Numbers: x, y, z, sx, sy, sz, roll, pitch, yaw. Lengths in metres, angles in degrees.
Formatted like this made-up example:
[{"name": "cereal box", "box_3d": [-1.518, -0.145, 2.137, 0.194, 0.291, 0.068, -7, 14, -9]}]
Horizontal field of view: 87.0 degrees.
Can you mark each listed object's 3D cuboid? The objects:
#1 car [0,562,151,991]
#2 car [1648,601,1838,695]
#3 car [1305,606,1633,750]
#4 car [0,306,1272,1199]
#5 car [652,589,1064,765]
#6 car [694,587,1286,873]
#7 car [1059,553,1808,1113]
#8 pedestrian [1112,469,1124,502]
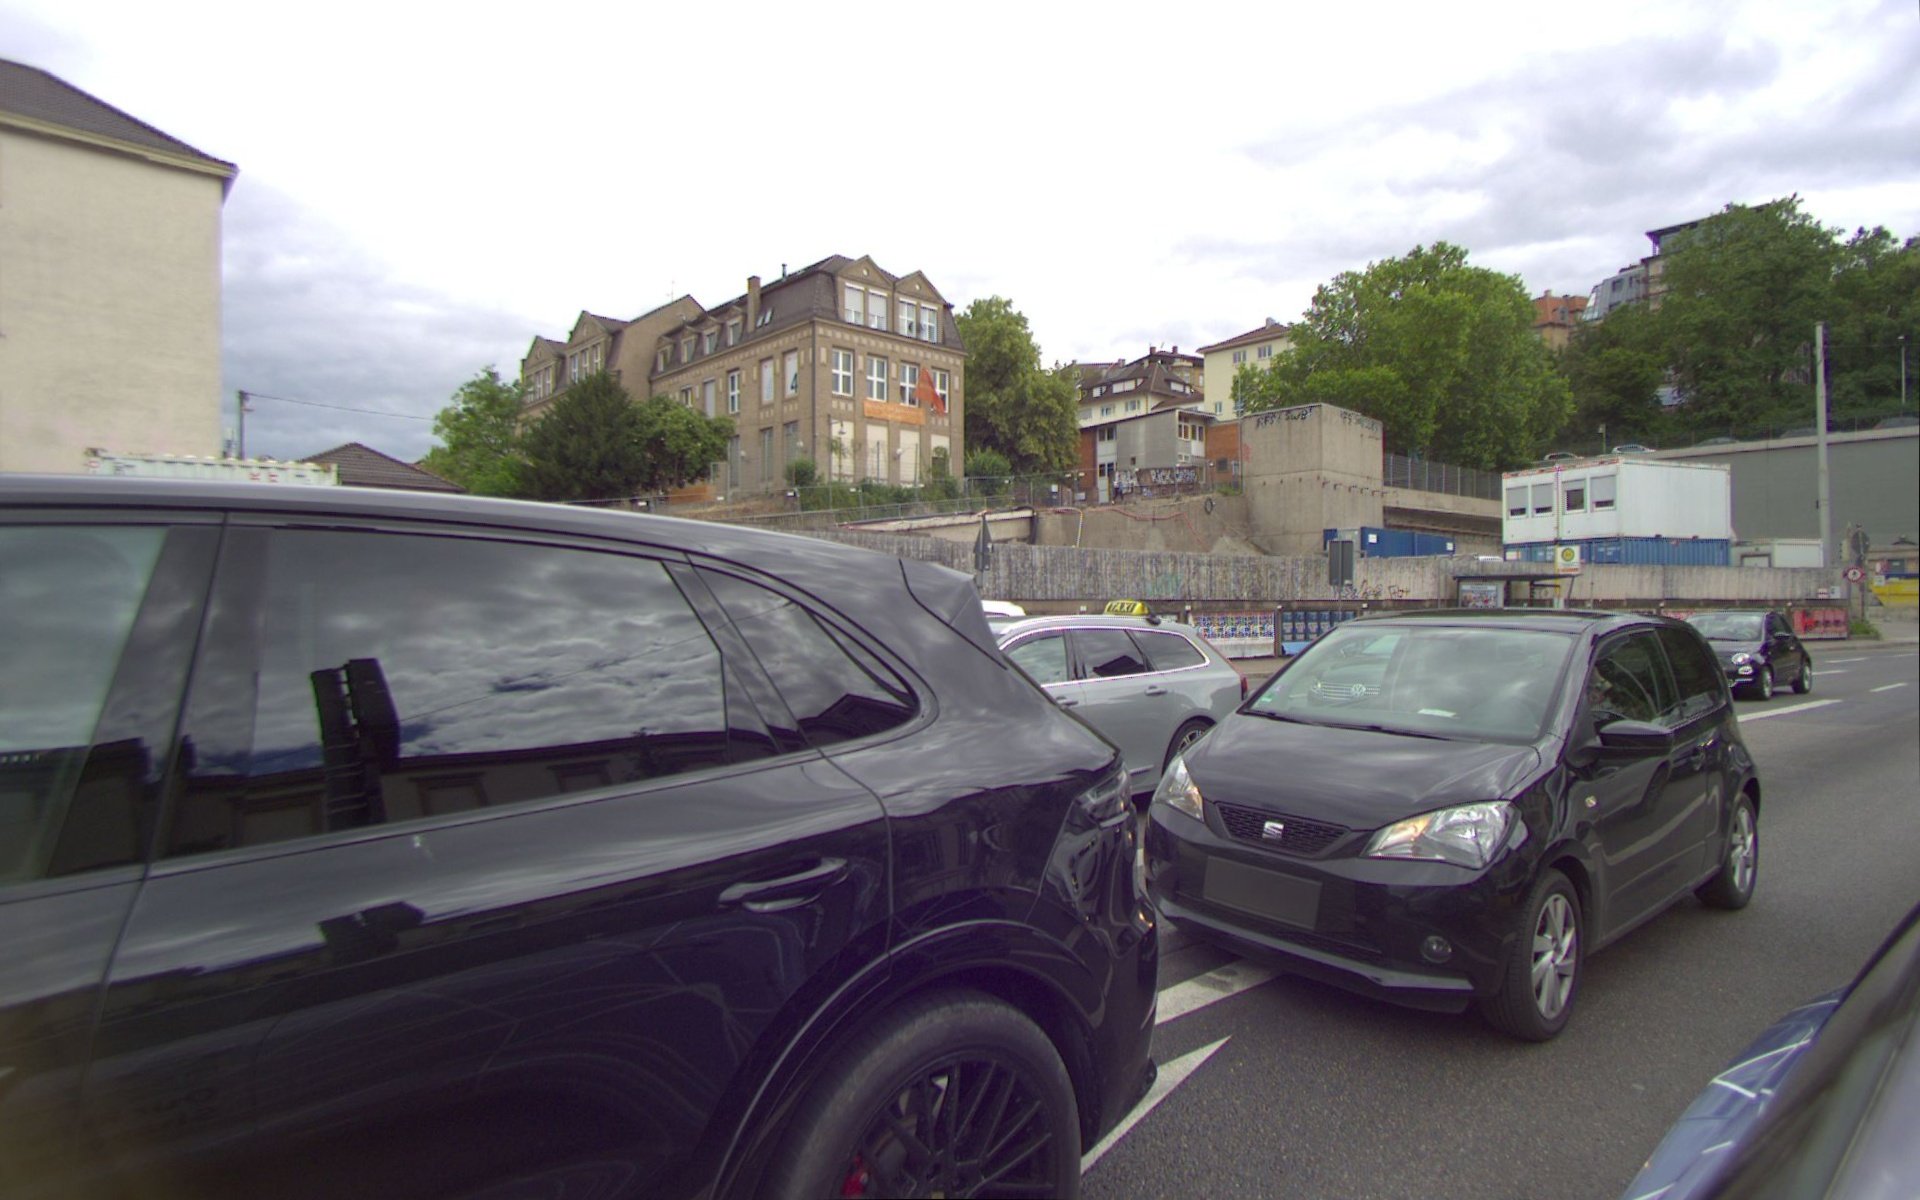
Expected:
[{"name": "car", "box_3d": [-5.062, 0.638, 3.453, 3.581, 1.529, 1.826, -1, 0, -39]}, {"name": "car", "box_3d": [13.683, 0.775, 17.642, 3.711, 1.478, 1.721, 1, -2, -38]}, {"name": "car", "box_3d": [6.023, 0.771, 11.802, 4.139, 1.381, 1.827, 1, 0, -38]}, {"name": "car", "box_3d": [-1.658, 0.558, 1.663, 4.497, 1.689, 1.998, -1, 0, -39]}, {"name": "car", "box_3d": [-0.939, 0.635, 10.599, 4.004, 1.484, 1.824, -1, 0, -42]}, {"name": "car", "box_3d": [0.399, 0.659, 7.336, 4.142, 1.484, 1.825, -1, 0, -40]}, {"name": "car", "box_3d": [2.411, 0.634, 4.715, 3.841, 1.575, 1.661, -1, 0, -39]}, {"name": "pedestrian", "box_3d": [8.879, -6.446, 56.889, 0.558, 1.817, 0.556, 0, 0, -5]}]
